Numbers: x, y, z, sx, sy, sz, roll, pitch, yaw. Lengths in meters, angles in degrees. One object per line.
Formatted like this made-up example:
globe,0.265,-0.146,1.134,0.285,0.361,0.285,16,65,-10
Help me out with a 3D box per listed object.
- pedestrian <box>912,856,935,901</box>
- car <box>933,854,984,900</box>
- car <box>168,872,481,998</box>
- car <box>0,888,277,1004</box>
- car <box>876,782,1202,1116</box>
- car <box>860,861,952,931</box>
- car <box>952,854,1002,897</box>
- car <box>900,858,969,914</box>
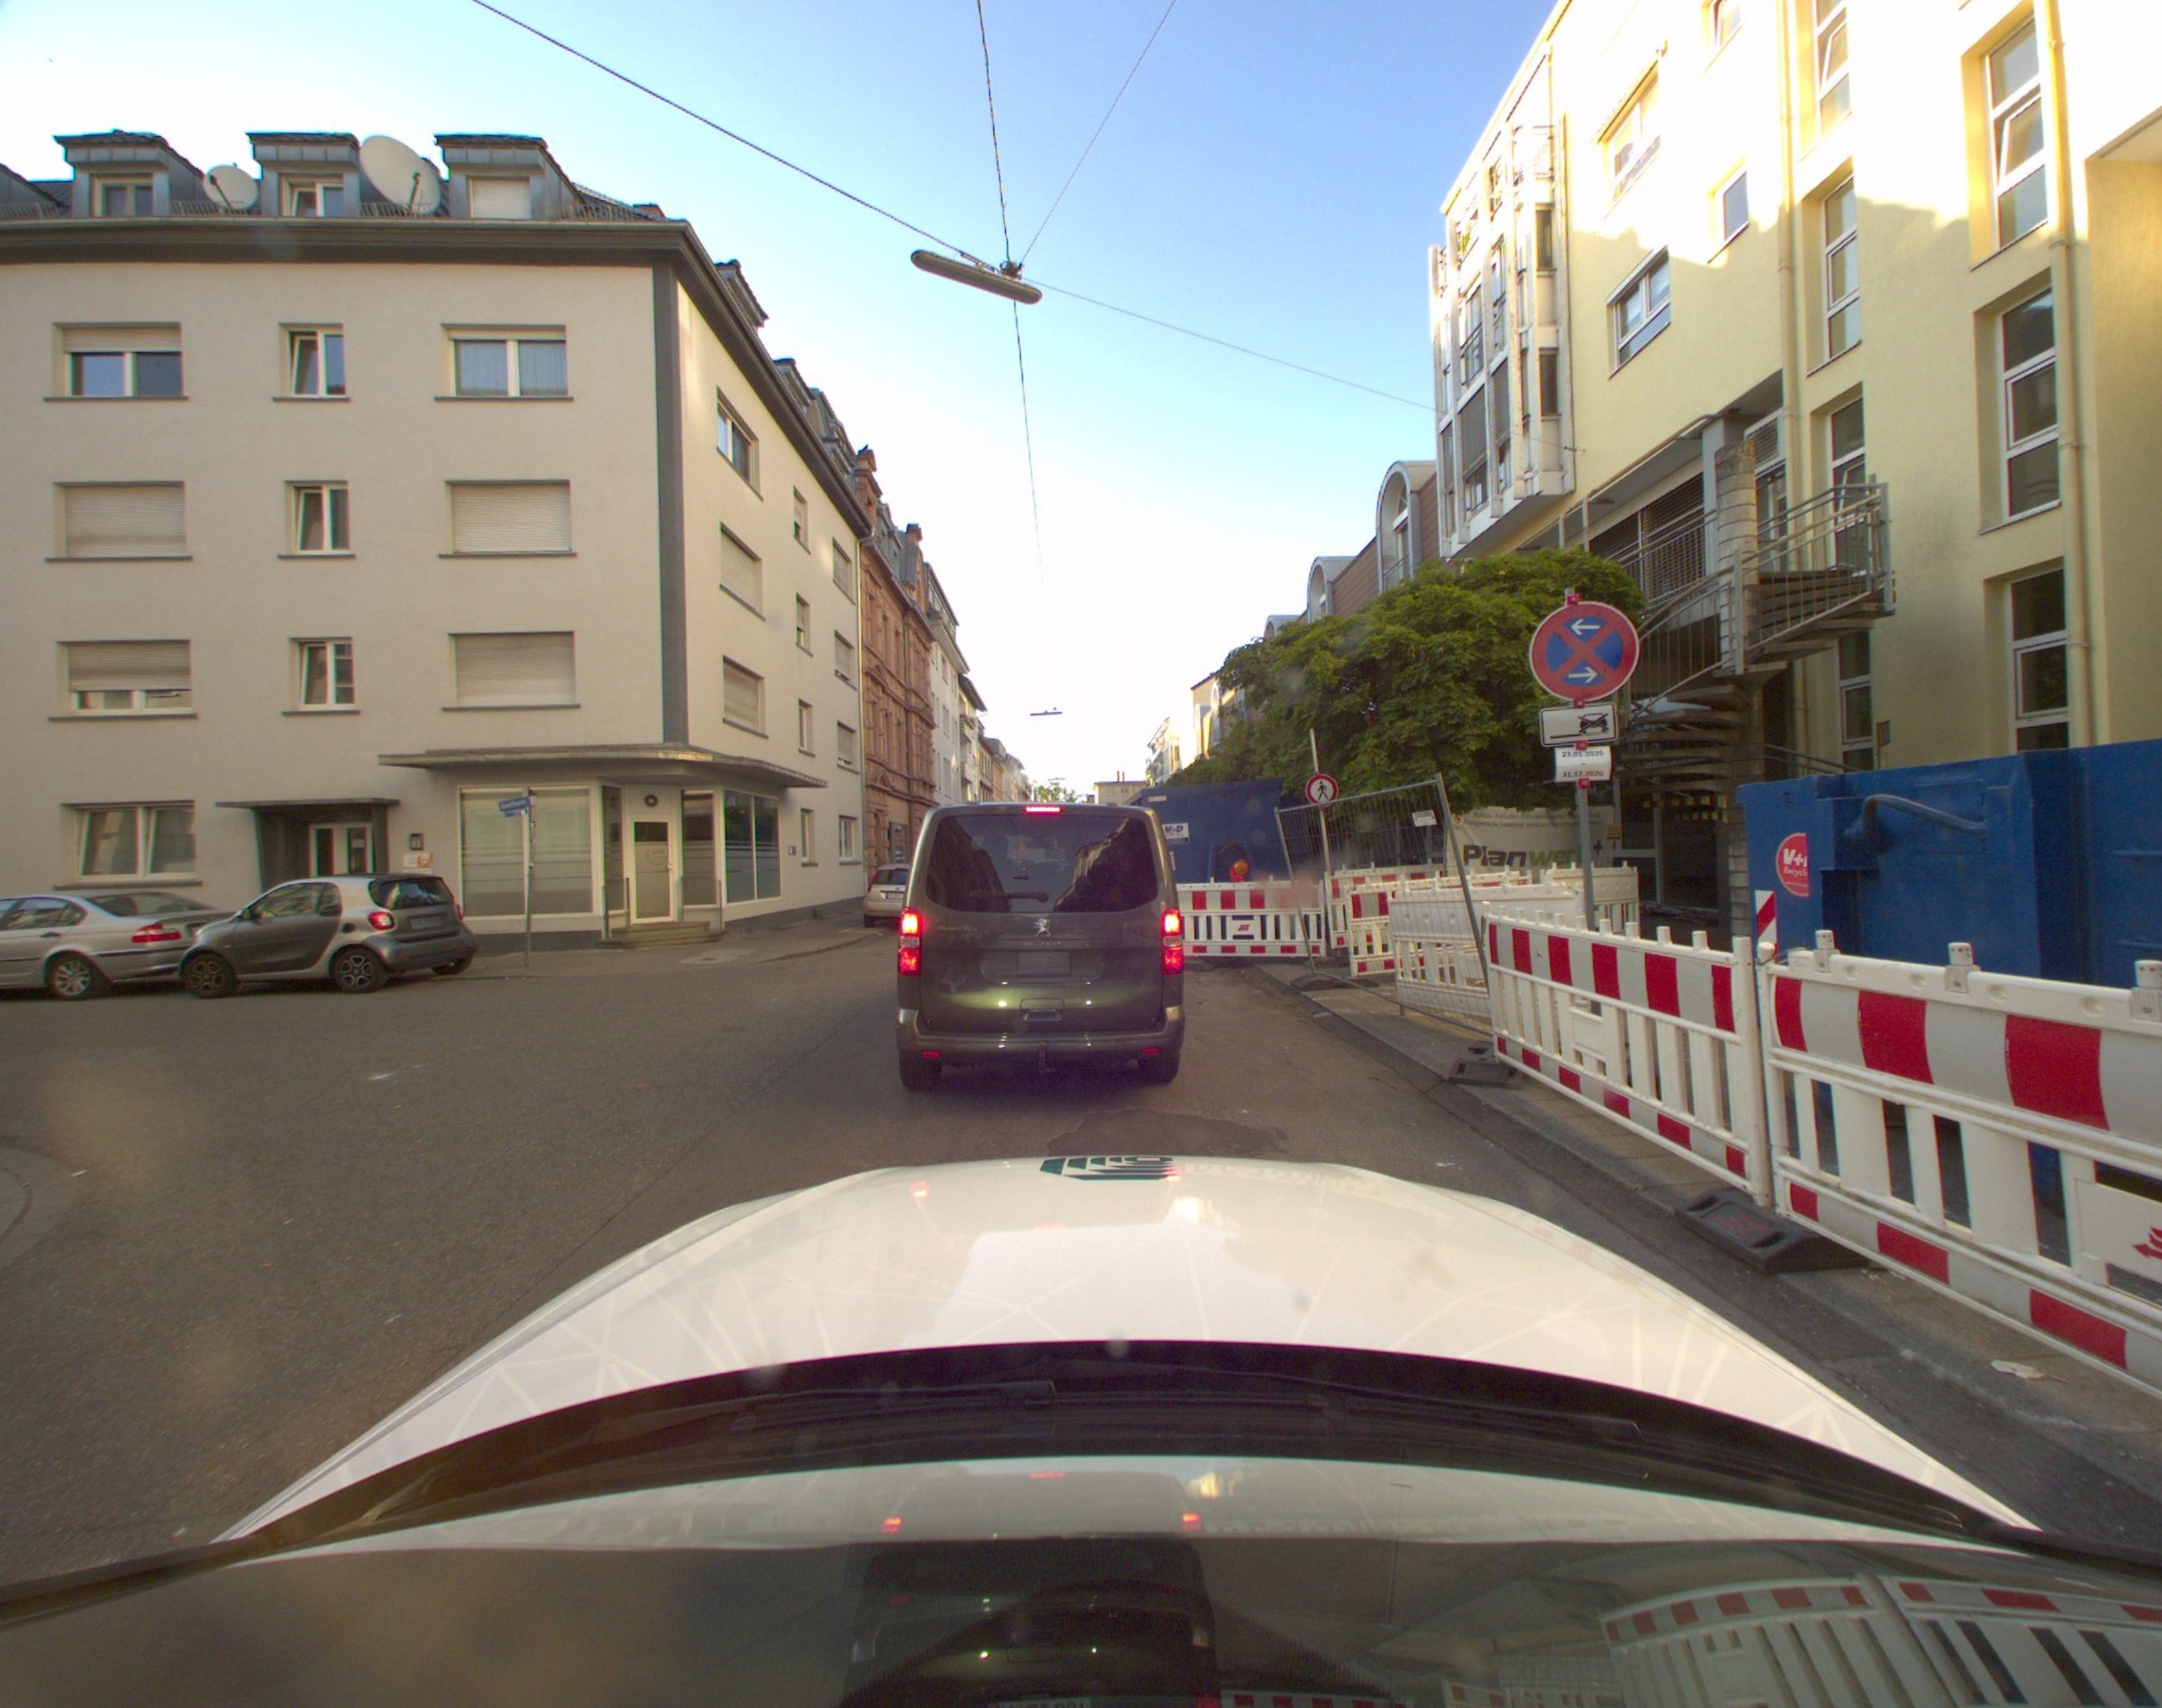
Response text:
pedestrian,-6.020,0.933,31.134,0.739,1.664,0.702,-2,0,-5
car,-4.779,0.875,32.126,1.663,1.666,3.087,3,-1,-4
car,-10.242,1.053,11.195,2.778,1.540,1.593,-1,0,-1
car,-14.194,1.248,11.368,4.193,1.403,1.602,-1,0,-2
car,-0.379,0.563,6.850,1.862,1.886,4.229,-1,-1,-4
car,-4.134,0.954,19.708,1.653,1.460,3.412,3,-1,-4
car,-4.518,0.911,35.766,1.888,1.720,3.748,3,-1,-4
car,-4.433,0.948,25.028,1.653,1.525,3.412,3,-1,-4
